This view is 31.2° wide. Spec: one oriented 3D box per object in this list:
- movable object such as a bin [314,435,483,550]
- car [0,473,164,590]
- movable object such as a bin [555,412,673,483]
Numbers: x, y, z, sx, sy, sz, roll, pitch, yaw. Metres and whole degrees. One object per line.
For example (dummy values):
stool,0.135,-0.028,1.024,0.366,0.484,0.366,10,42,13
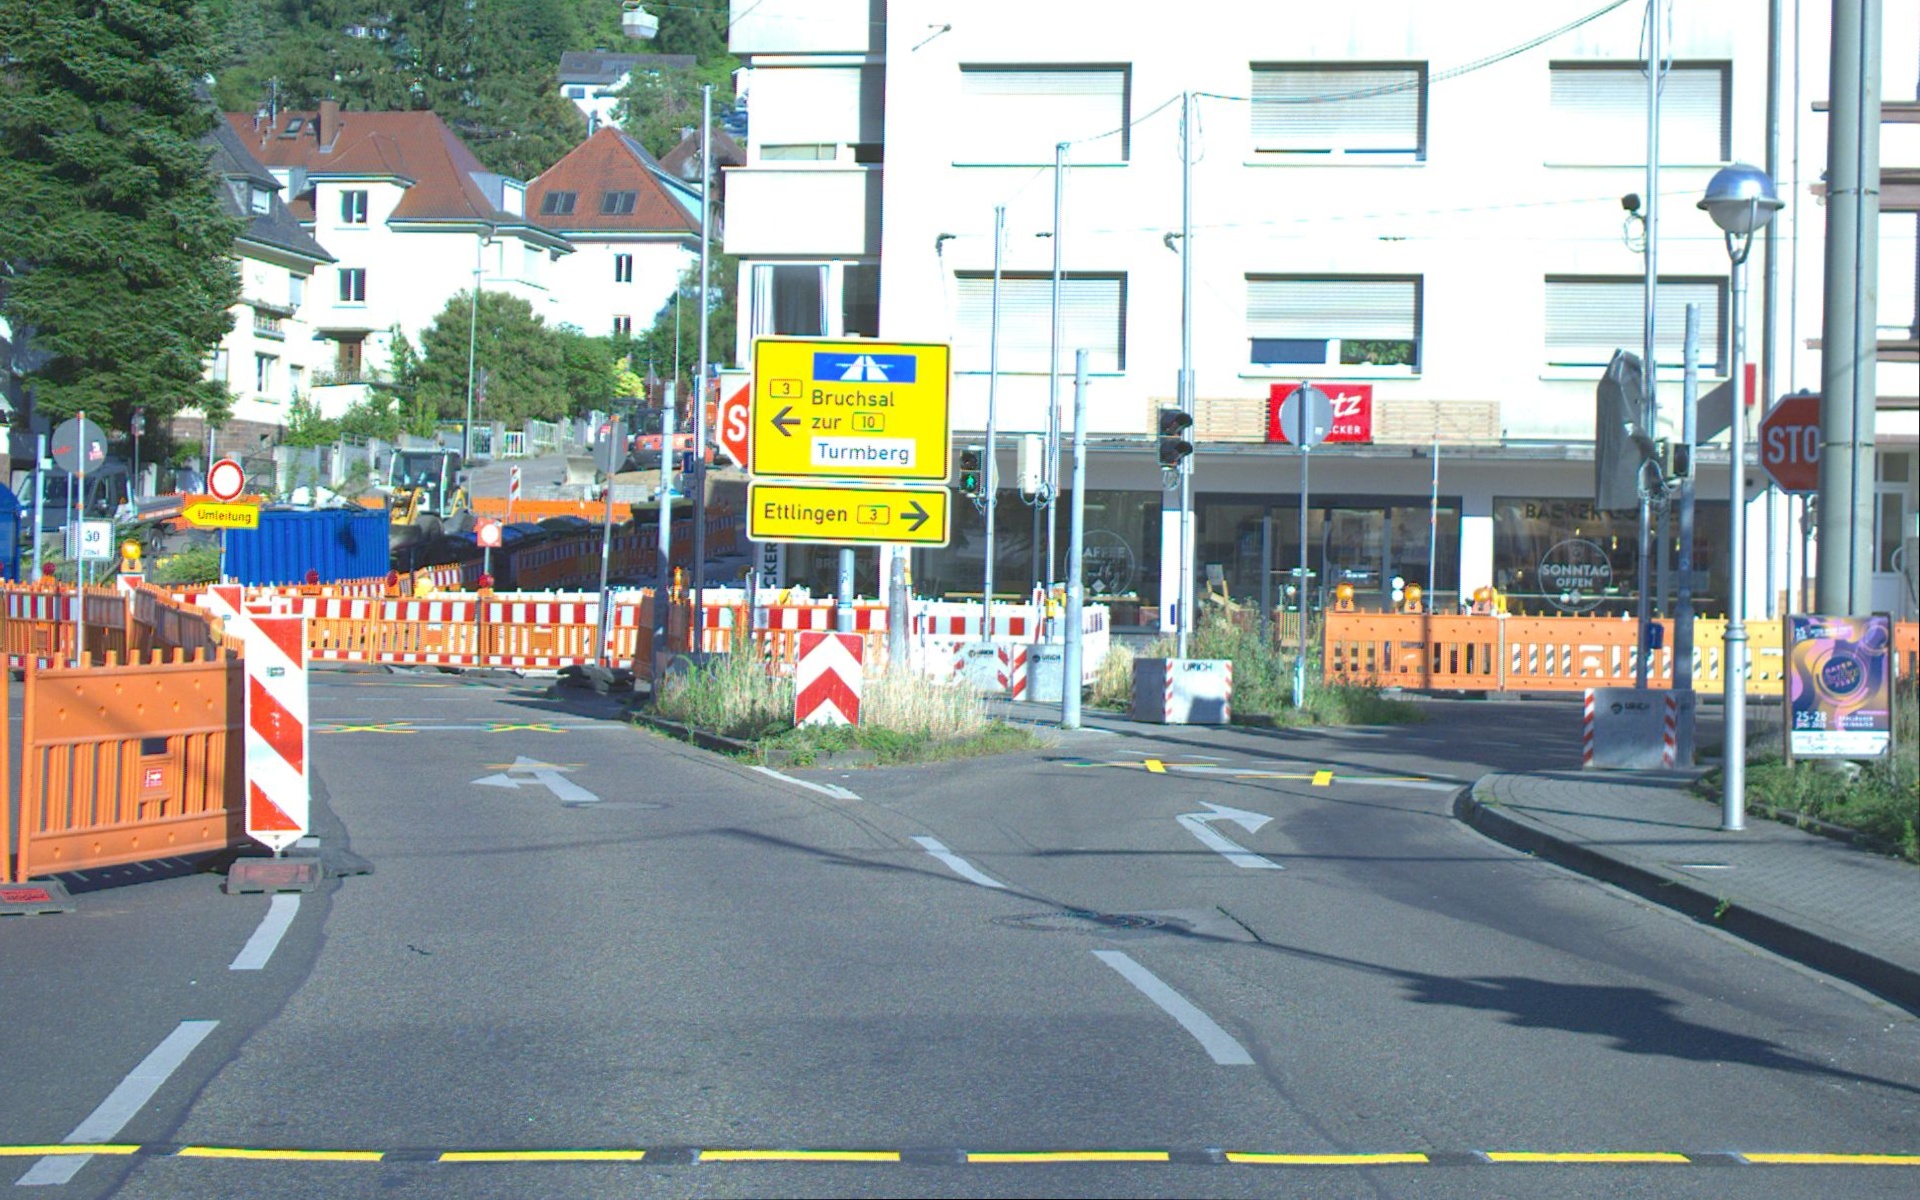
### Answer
movable object such as a bin,-12.826,-2.439,78.826,1.950,2.486,4.547,1,0,18
car,-18.040,-1.284,66.038,2.585,2.113,6.145,1,0,18
movable object such as a bin,-11.502,-5.051,114.736,2.566,2.114,5.782,1,0,8
